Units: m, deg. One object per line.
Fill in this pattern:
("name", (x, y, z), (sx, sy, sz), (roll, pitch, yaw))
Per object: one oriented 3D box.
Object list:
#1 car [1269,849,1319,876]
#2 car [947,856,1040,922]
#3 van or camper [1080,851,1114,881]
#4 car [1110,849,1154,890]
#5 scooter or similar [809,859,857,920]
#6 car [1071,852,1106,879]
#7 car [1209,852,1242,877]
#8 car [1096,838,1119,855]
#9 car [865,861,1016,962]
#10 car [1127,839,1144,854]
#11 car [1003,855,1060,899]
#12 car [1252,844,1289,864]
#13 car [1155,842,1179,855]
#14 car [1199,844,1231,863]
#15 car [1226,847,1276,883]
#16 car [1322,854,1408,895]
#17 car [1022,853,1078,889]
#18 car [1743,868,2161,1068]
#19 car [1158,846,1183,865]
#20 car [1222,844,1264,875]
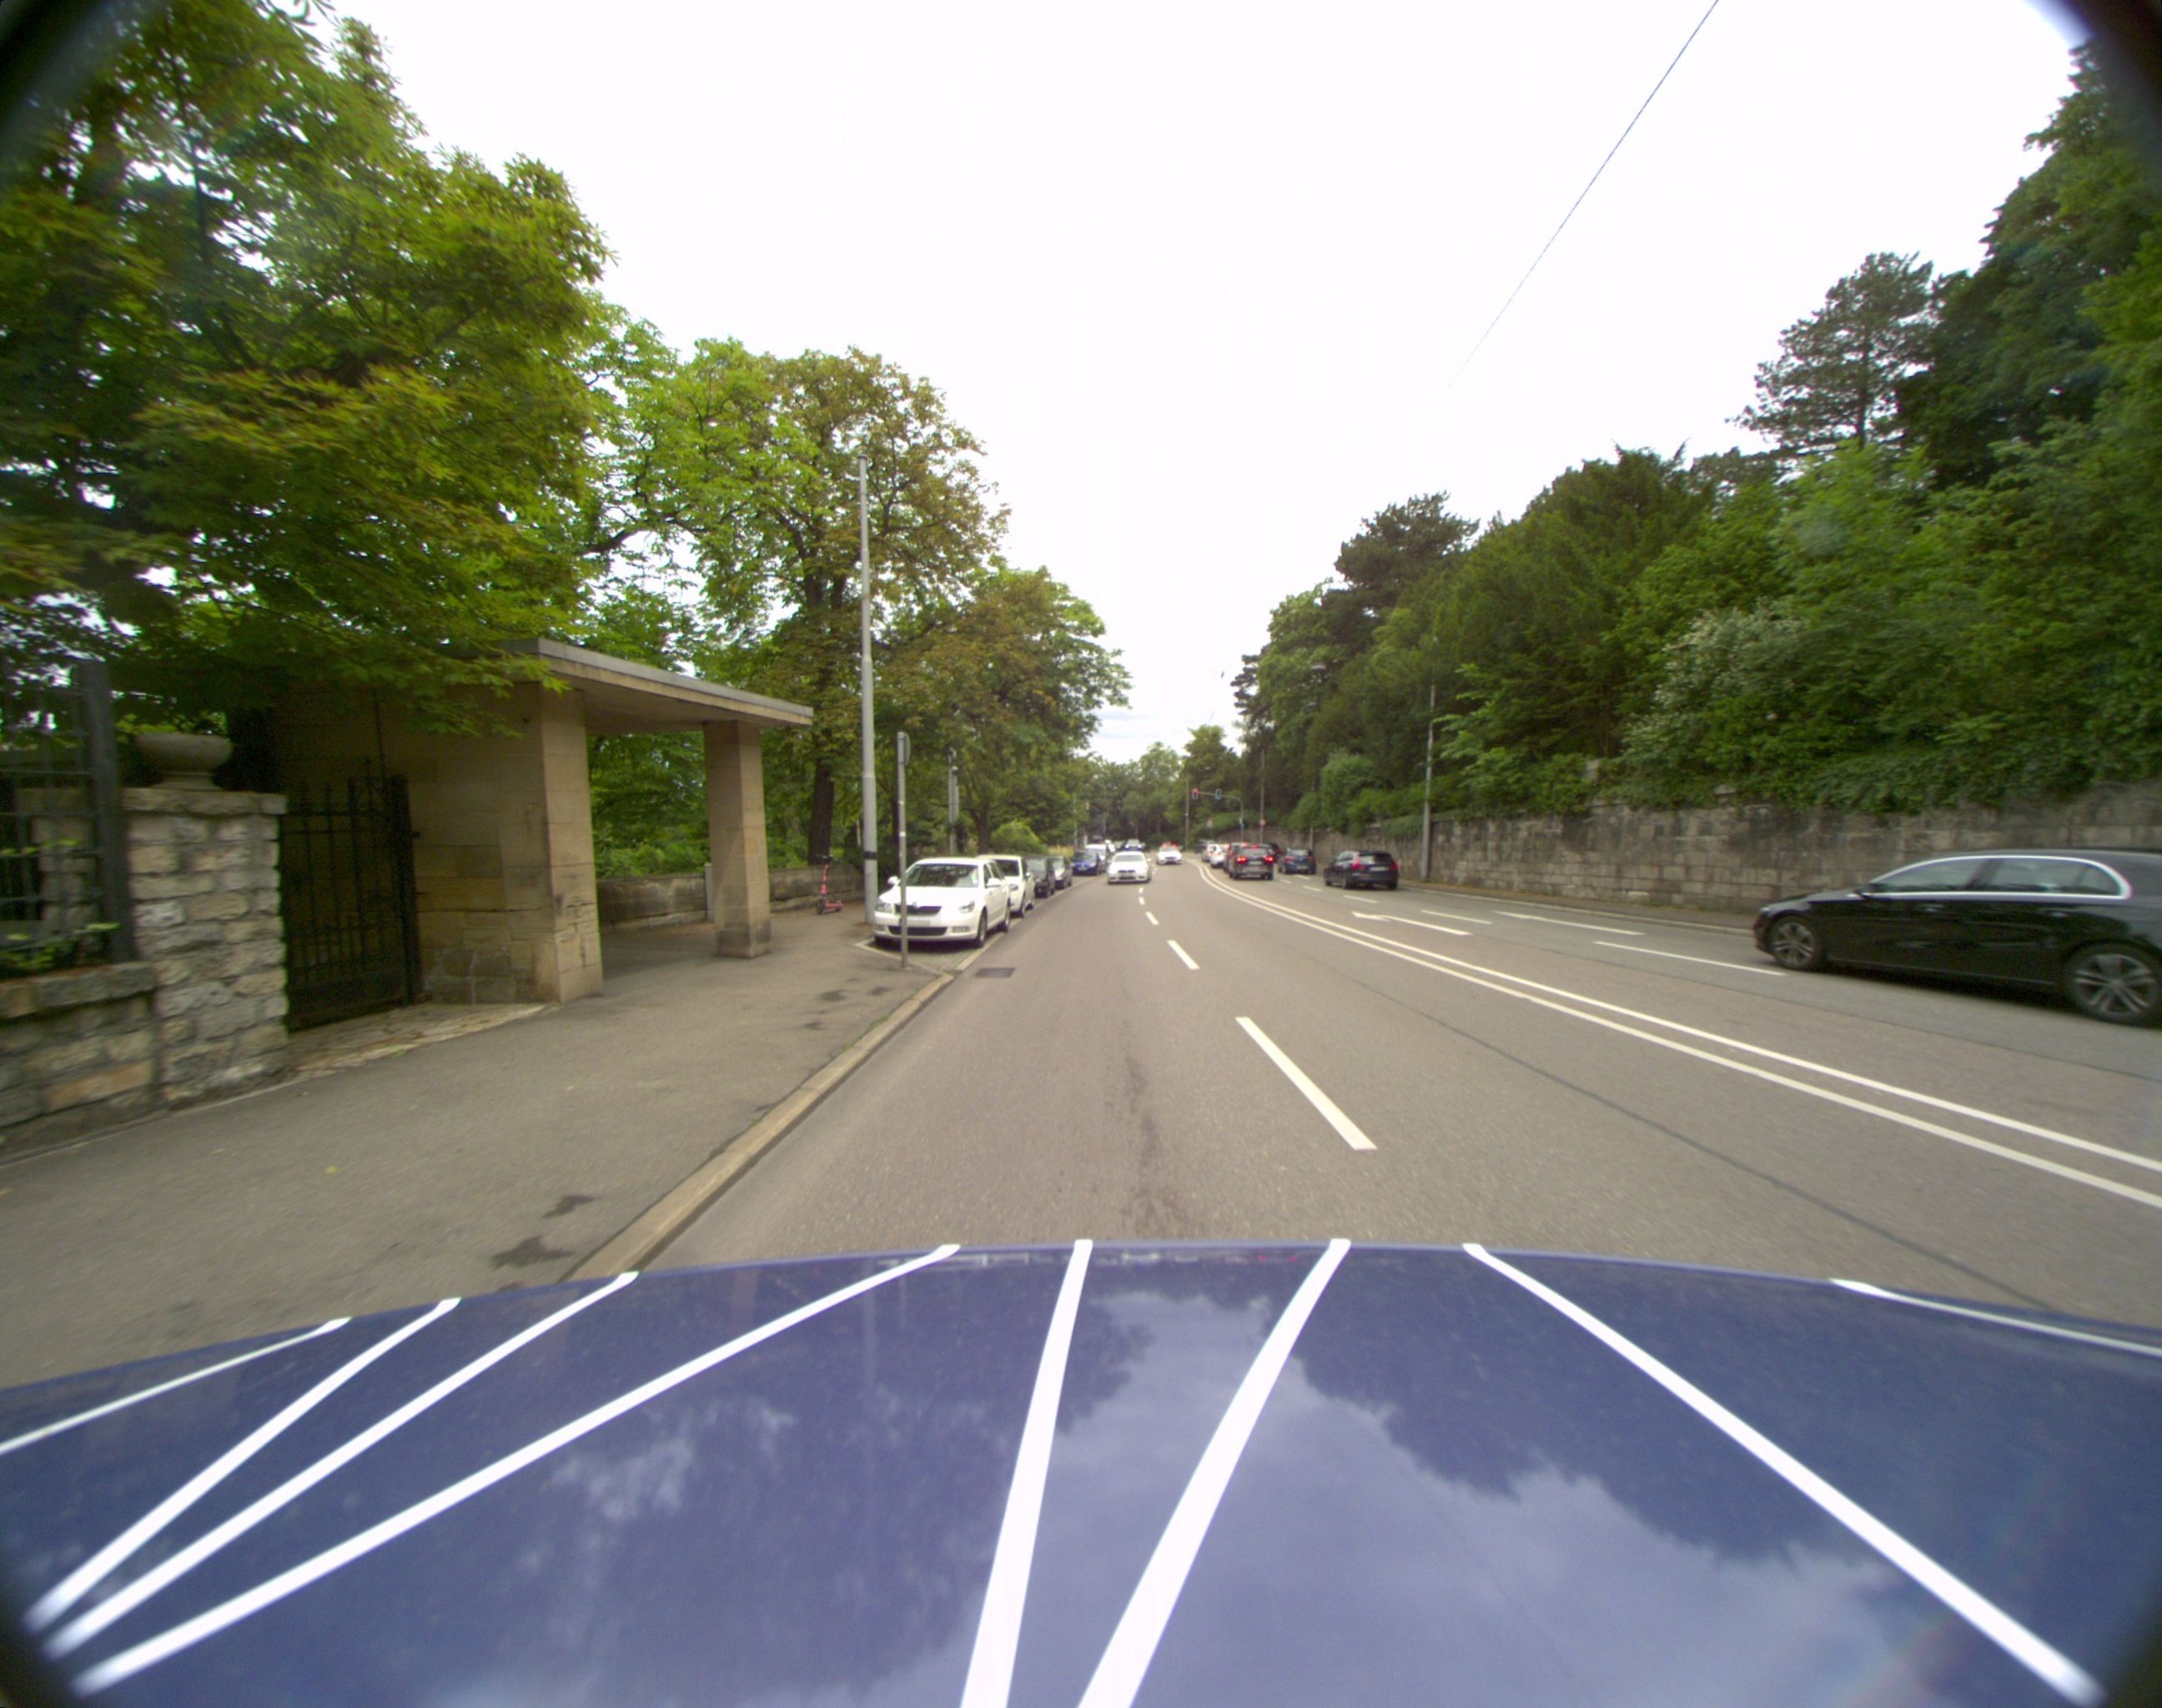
("car", (11.812, 0.439, 42.312), (1.846, 1.428, 4.001), (1, 0, 4))
("car", (-2.128, 0.808, 19.540), (1.719, 1.463, 4.039), (2, 0, 2))
("van or camper", (1.100, 0.758, 50.430), (1.702, 1.834, 4.244), (-1, 1, 9))
("car", (2.358, 0.660, 36.040), (1.822, 1.463, 4.782), (-5, 3, 2))
("scooter or similar", (-5.354, 0.744, 16.472), (0.518, 1.253, 1.169), (2, 1, 6))
("car", (0.492, 0.639, 45.339), (1.600, 1.451, 3.943), (0, 1, 8))
("car", (9.779, 0.653, 51.819), (1.841, 1.545, 4.790), (-1, 1, 7))
("car", (2.869, -0.780, 83.357), (1.959, 1.761, 3.998), (-1, 0, -5))
("car", (-2.308, 0.880, 13.627), (1.679, 1.452, 4.366), (1, 0, 3))
("car", (6.660, -0.840, 92.086), (1.957, 1.730, 4.001), (-1, 0, 5))
("car", (-1.713, 0.769, 27.185), (1.565, 1.414, 3.425), (2, 1, 4))
("car", (14.217, -0.026, 57.242), (2.006, 1.401, 4.757), (0, 1, 6))
("car", (10.565, -0.648, 93.123), (1.637, 1.426, 3.953), (-2, 1, -13))
("car", (10.959, -0.085, 62.422), (1.998, 1.461, 4.878), (0, 1, 3))
("car", (8.183, 0.473, 36.948), (1.851, 1.642, 4.625), (0, 1, 6))
("car", (10.513, 0.696, 28.472), (1.847, 1.401, 4.457), (0, 0, 4))
("car", (-1.268, 0.673, 32.661), (1.773, 1.391, 4.552), (0, 1, 6))
("car", (8.869, 0.889, 7.171), (1.566, 1.394, 4.253), (0, 0, 1))
("car", (7.153, 0.102, 60.535), (1.801, 1.382, 3.529), (-1, 1, 10))
("car", (9.351, 0.268, 44.295), (1.963, 1.740, 4.880), (0, 1, 7))
